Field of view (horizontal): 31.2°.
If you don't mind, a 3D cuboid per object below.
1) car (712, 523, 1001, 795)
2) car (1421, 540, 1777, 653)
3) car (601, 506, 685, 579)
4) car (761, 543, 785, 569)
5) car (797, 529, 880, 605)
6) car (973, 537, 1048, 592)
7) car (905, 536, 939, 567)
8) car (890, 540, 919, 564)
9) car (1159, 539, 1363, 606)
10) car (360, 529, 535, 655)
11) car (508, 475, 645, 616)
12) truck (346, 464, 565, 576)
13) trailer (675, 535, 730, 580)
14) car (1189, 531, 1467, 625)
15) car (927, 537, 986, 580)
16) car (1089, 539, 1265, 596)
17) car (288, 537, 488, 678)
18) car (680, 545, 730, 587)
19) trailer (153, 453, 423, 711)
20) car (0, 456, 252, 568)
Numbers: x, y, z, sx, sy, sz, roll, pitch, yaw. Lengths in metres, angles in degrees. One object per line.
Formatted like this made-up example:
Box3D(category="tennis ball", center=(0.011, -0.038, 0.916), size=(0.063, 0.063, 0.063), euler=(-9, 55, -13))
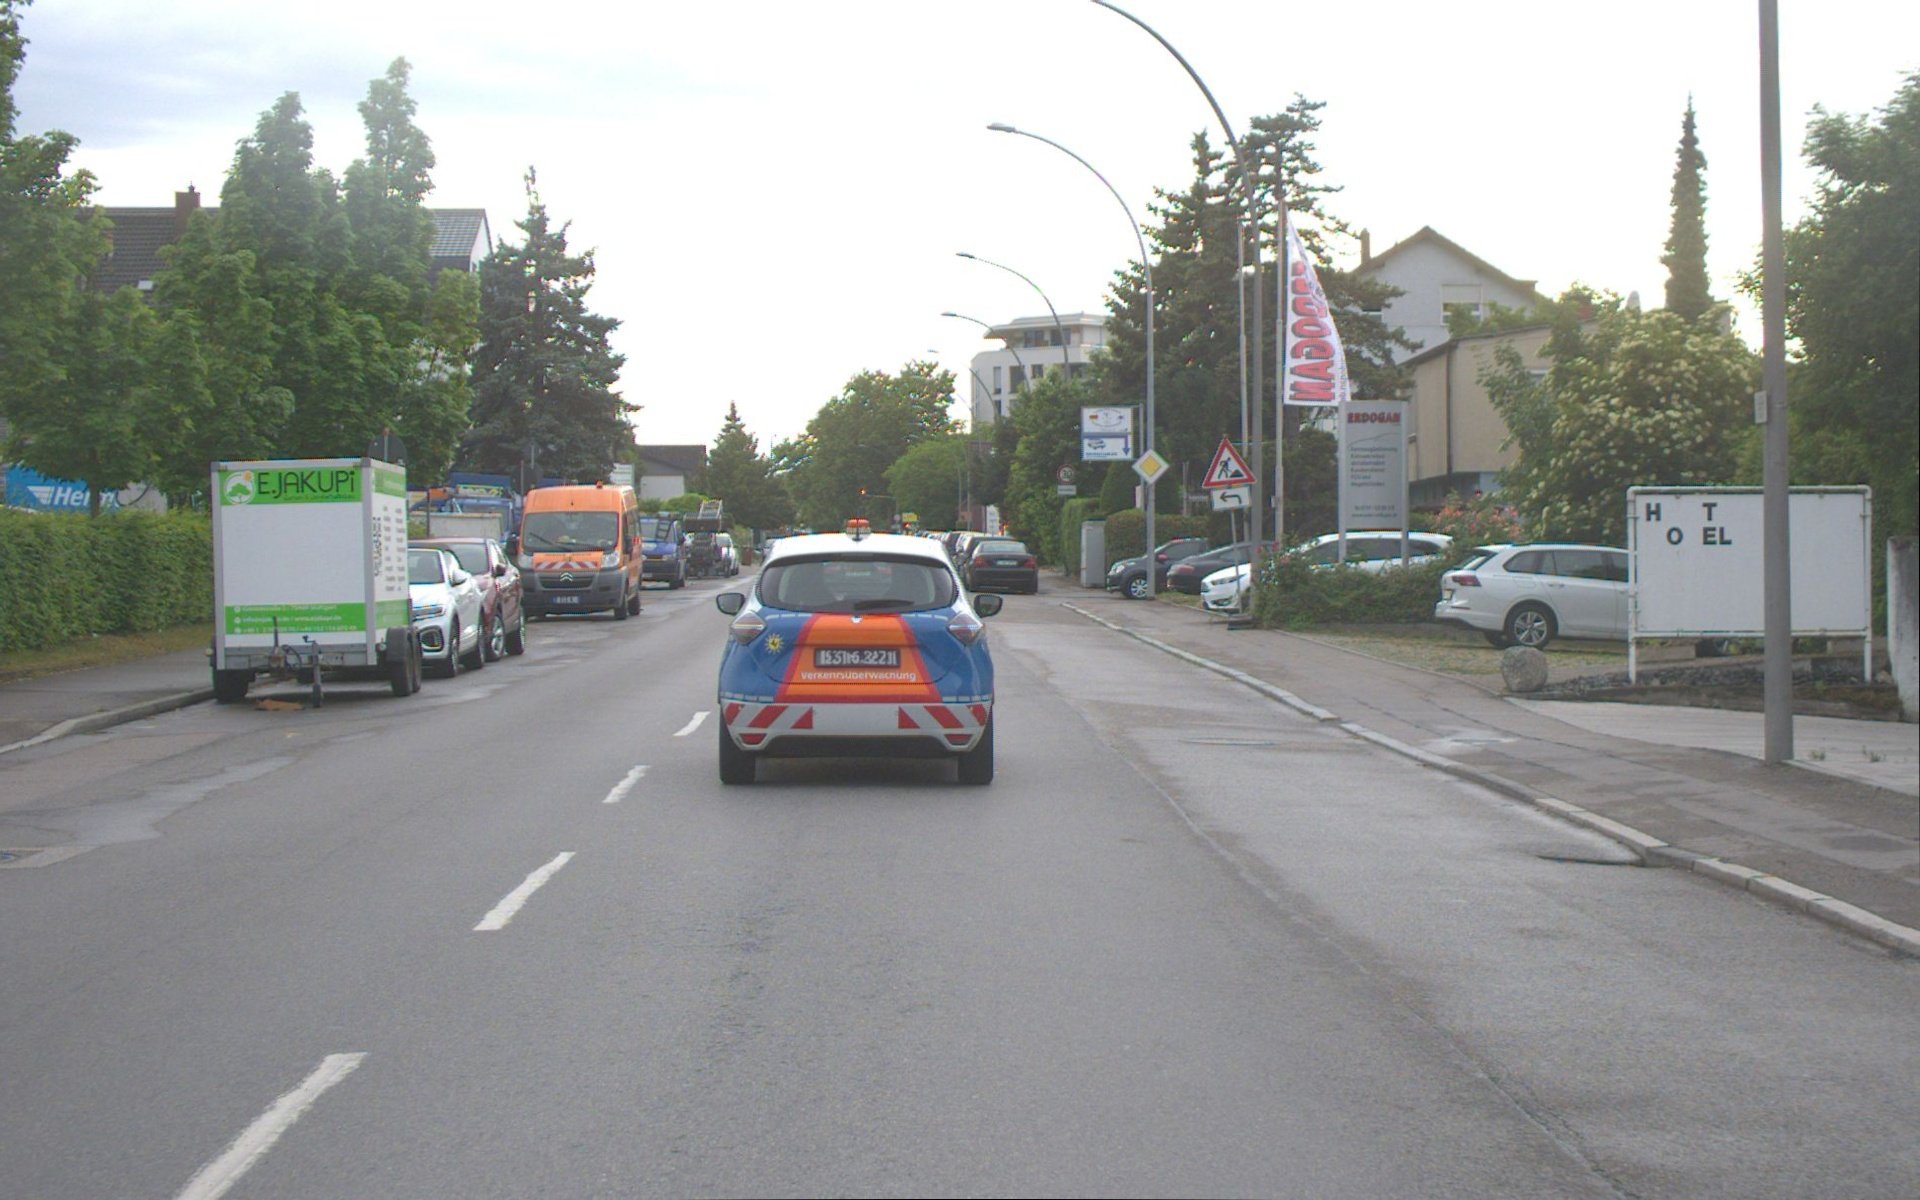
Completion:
Box3D(category="car", center=(-0.689, 0.337, 22.378), size=(1.731, 1.625, 3.495), euler=(0, 1, -2))
Box3D(category="car", center=(8.648, -0.053, 46.758), size=(4.415, 1.388, 1.880), euler=(1, 0, -2))
Box3D(category="car", center=(-8.842, -1.594, 96.279), size=(1.993, 1.940, 5.366), euler=(1, 1, -2))
Box3D(category="car", center=(-10.905, -2.585, 200.288), size=(1.386, 1.478, 3.784), euler=(0, 1, -3))
Box3D(category="car", center=(-2.603, -0.701, 72.860), size=(1.650, 1.516, 4.001), euler=(1, 1, -3))
Box3D(category="car", center=(1.257, -0.912, 87.437), size=(1.589, 1.336, 4.093), euler=(1, 1, -3))
Box3D(category="car", center=(-2.094, -2.686, 189.709), size=(1.650, 1.666, 4.001), euler=(1, 1, -3))
Box3D(category="car", center=(-3.578, -3.099, 221.623), size=(1.650, 1.478, 4.001), euler=(1, 1, -3))
Box3D(category="car", center=(6.139, -0.571, 70.491), size=(3.987, 1.262, 1.951), euler=(1, 0, 1))
Box3D(category="car", center=(-6.709, -0.151, 45.413), size=(1.805, 1.568, 4.343), euler=(0, 1, -2))
Box3D(category="car", center=(-7.188, -1.047, 64.984), size=(2.124, 2.529, 6.023), euler=(0, 1, -2))
Box3D(category="truck", center=(-14.567, -2.300, 99.491), size=(5.911, 3.063, 2.450), euler=(1, 0, -1))
Box3D(category="trailer", center=(-8.530, -1.433, 114.280), size=(1.717, 1.256, 5.245), euler=(1, 3, -3))
Box3D(category="car", center=(6.091, -0.367, 57.257), size=(4.337, 1.470, 1.903), euler=(1, 0, -2))
Box3D(category="car", center=(-0.150, -1.441, 119.312), size=(1.711, 1.433, 4.527), euler=(1, 1, -4))
Box3D(category="car", center=(5.163, -0.776, 82.151), size=(3.986, 1.262, 1.951), euler=(1, 0, -3))
Box3D(category="car", center=(-6.560, 0.045, 39.795), size=(1.772, 1.493, 4.137), euler=(0, 2, -2))
Box3D(category="car", center=(-9.028, -1.208, 121.888), size=(1.557, 1.428, 4.000), euler=(1, 1, -1))
Box3D(category="trailer", center=(-6.526, -0.214, 33.866), size=(1.812, 2.306, 4.731), euler=(-2, 1, -2))
Box3D(category="car", center=(-15.988, -1.668, 66.061), size=(4.306, 2.007, 2.063), euler=(1, 0, -1))
